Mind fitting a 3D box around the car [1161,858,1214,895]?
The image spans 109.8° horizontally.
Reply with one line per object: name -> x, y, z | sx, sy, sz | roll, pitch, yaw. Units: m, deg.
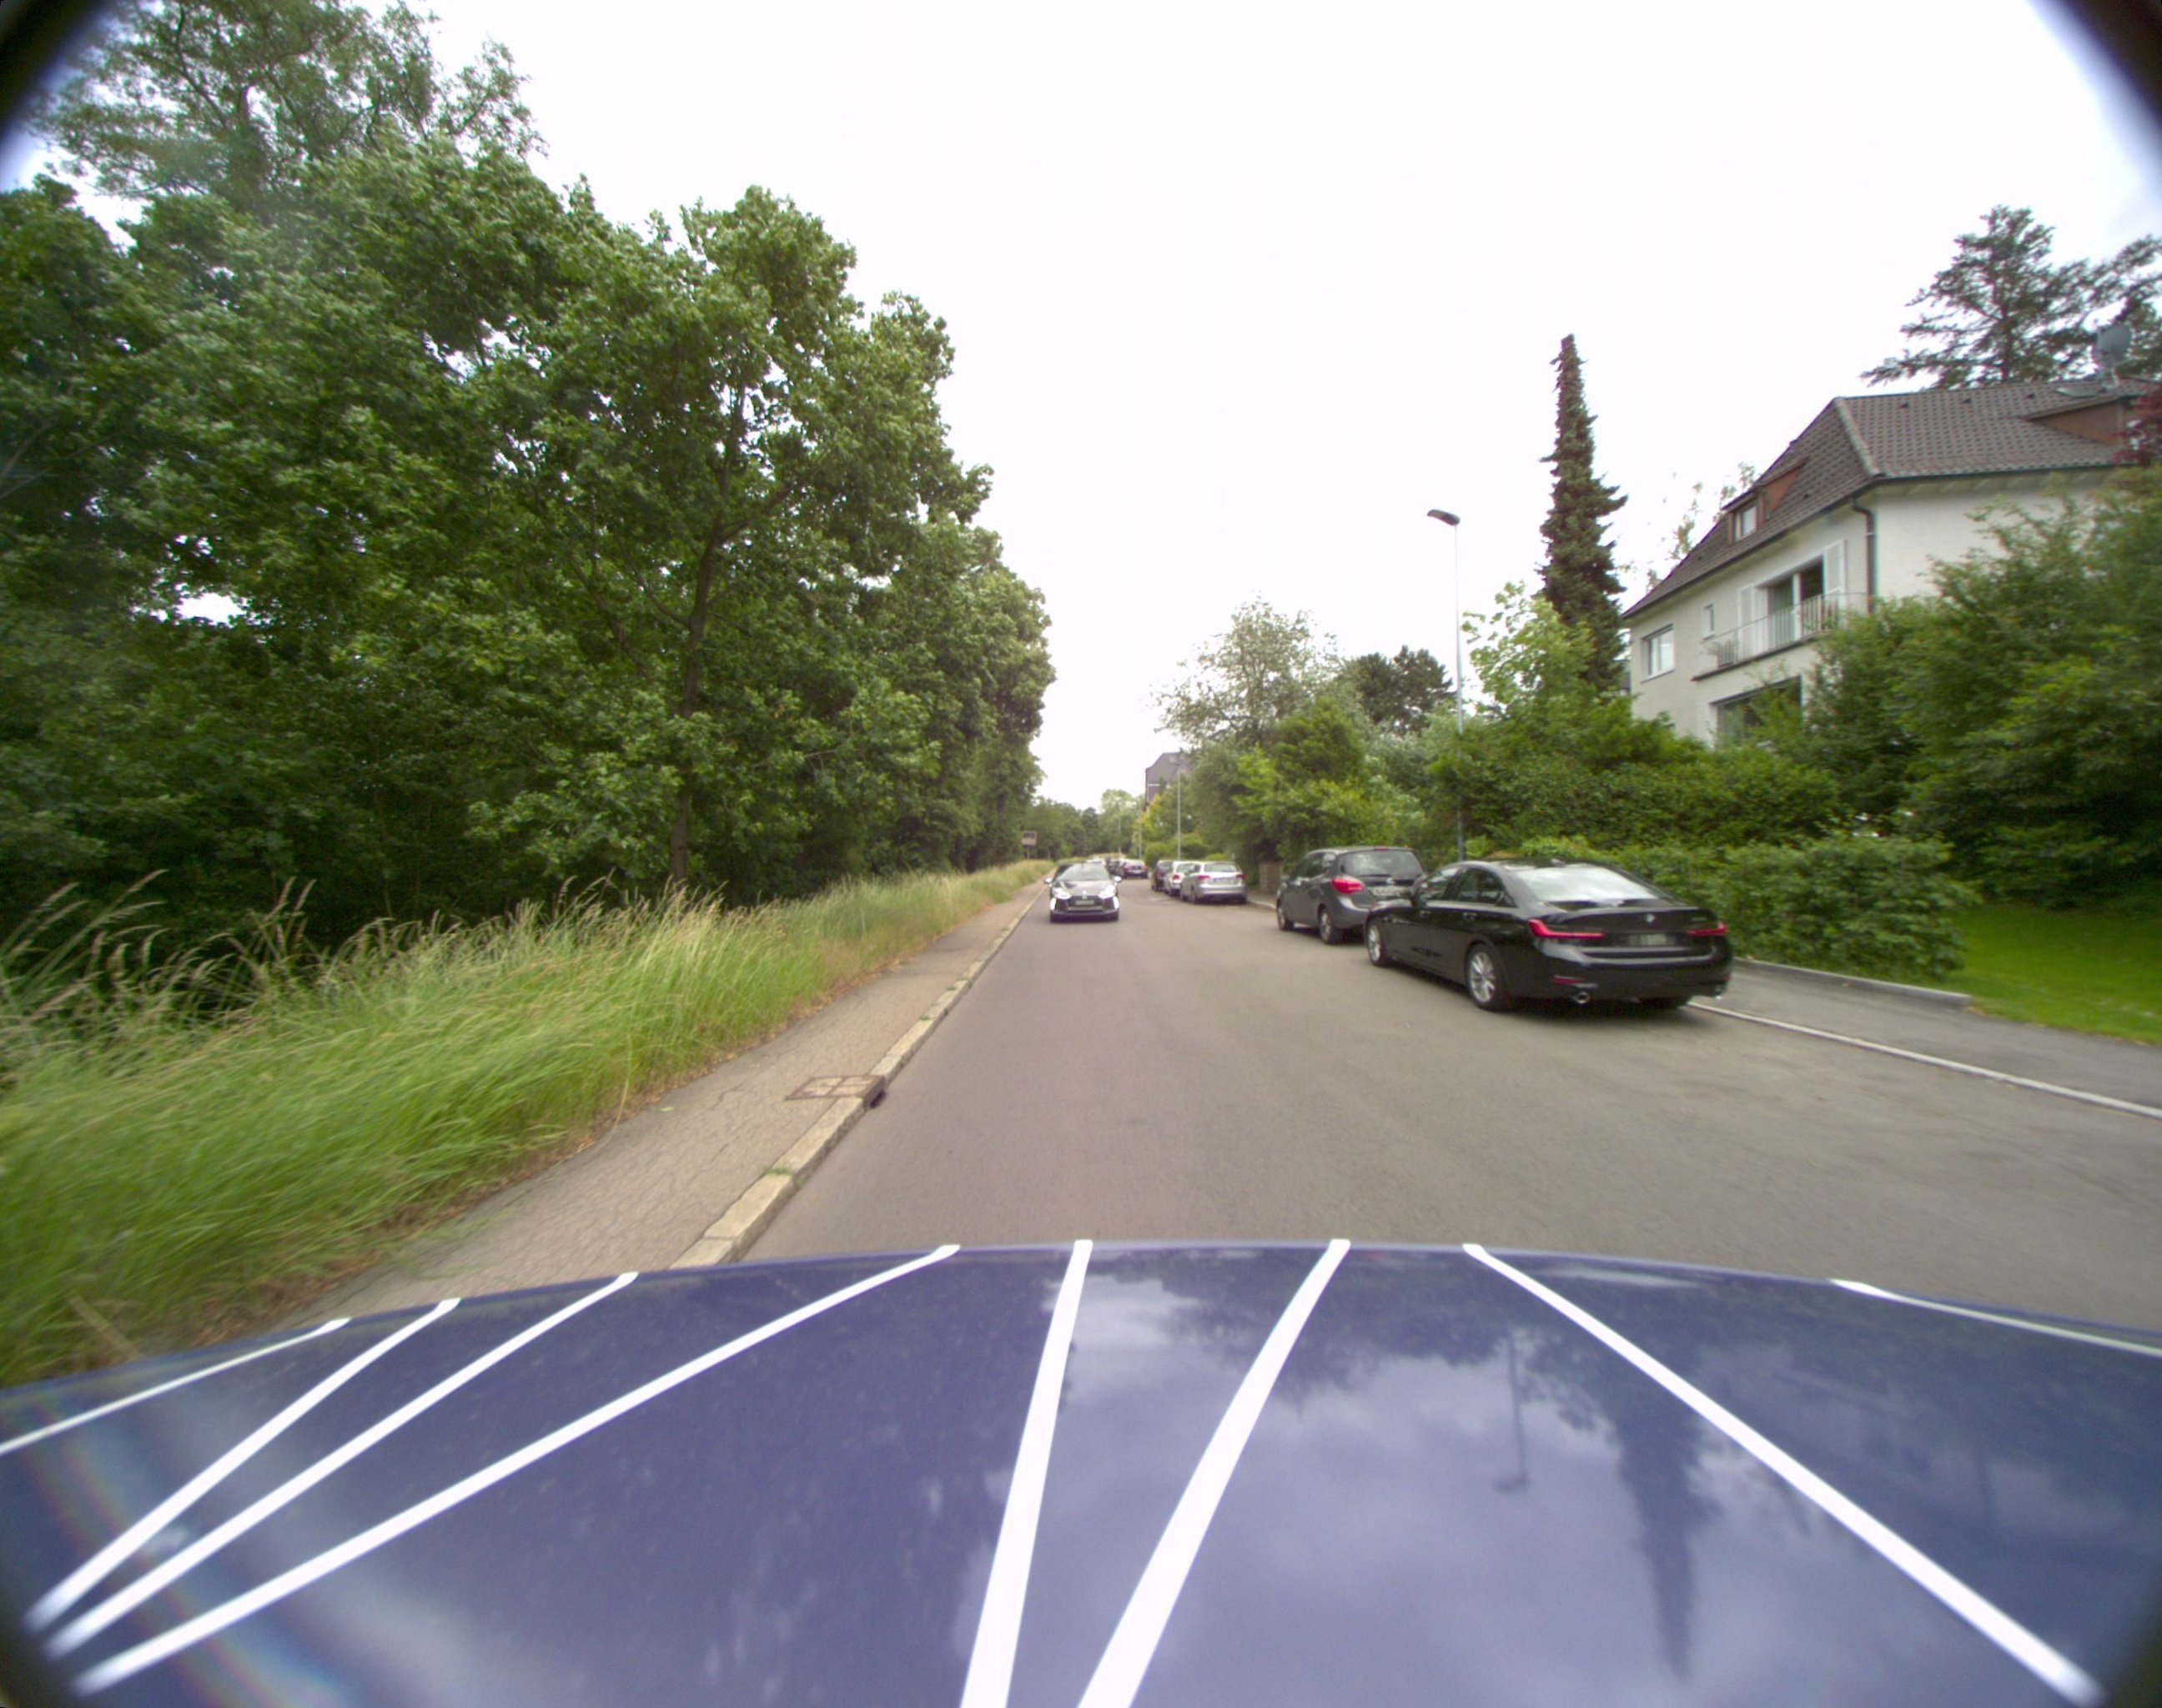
car -> 4.395, 0.877, 31.909 | 1.664, 1.444, 4.381 | 0, 0, 0

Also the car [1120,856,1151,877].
car -> 3.999, 0.882, 56.845 | 1.783, 1.423, 5.104 | -1, 0, -2

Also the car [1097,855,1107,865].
car -> 3.491, 0.979, 125.342 | 1.646, 1.461, 4.071 | 1, 0, 2

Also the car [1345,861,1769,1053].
car -> 4.611, 0.843, 8.454 | 1.758, 1.404, 4.899 | -2, 0, 2

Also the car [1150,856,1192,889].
car -> 4.284, 0.855, 36.627 | 1.627, 1.441, 3.969 | 0, 0, 1

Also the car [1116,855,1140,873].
car -> 3.881, 0.818, 63.332 | 1.628, 1.423, 4.350 | 0, 0, -2

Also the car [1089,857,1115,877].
car -> 1.591, 1.008, 59.365 | 1.785, 1.417, 4.488 | -1, 0, -2

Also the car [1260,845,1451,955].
car -> 4.739, 0.706, 13.903 | 1.735, 1.623, 4.568 | -2, 0, -1

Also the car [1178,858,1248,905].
car -> 4.451, 0.883, 26.138 | 1.627, 1.441, 4.093 | 0, 0, -1

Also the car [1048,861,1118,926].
car -> 0.136, 0.954, 19.948 | 1.619, 1.460, 4.001 | -2, 0, 3
